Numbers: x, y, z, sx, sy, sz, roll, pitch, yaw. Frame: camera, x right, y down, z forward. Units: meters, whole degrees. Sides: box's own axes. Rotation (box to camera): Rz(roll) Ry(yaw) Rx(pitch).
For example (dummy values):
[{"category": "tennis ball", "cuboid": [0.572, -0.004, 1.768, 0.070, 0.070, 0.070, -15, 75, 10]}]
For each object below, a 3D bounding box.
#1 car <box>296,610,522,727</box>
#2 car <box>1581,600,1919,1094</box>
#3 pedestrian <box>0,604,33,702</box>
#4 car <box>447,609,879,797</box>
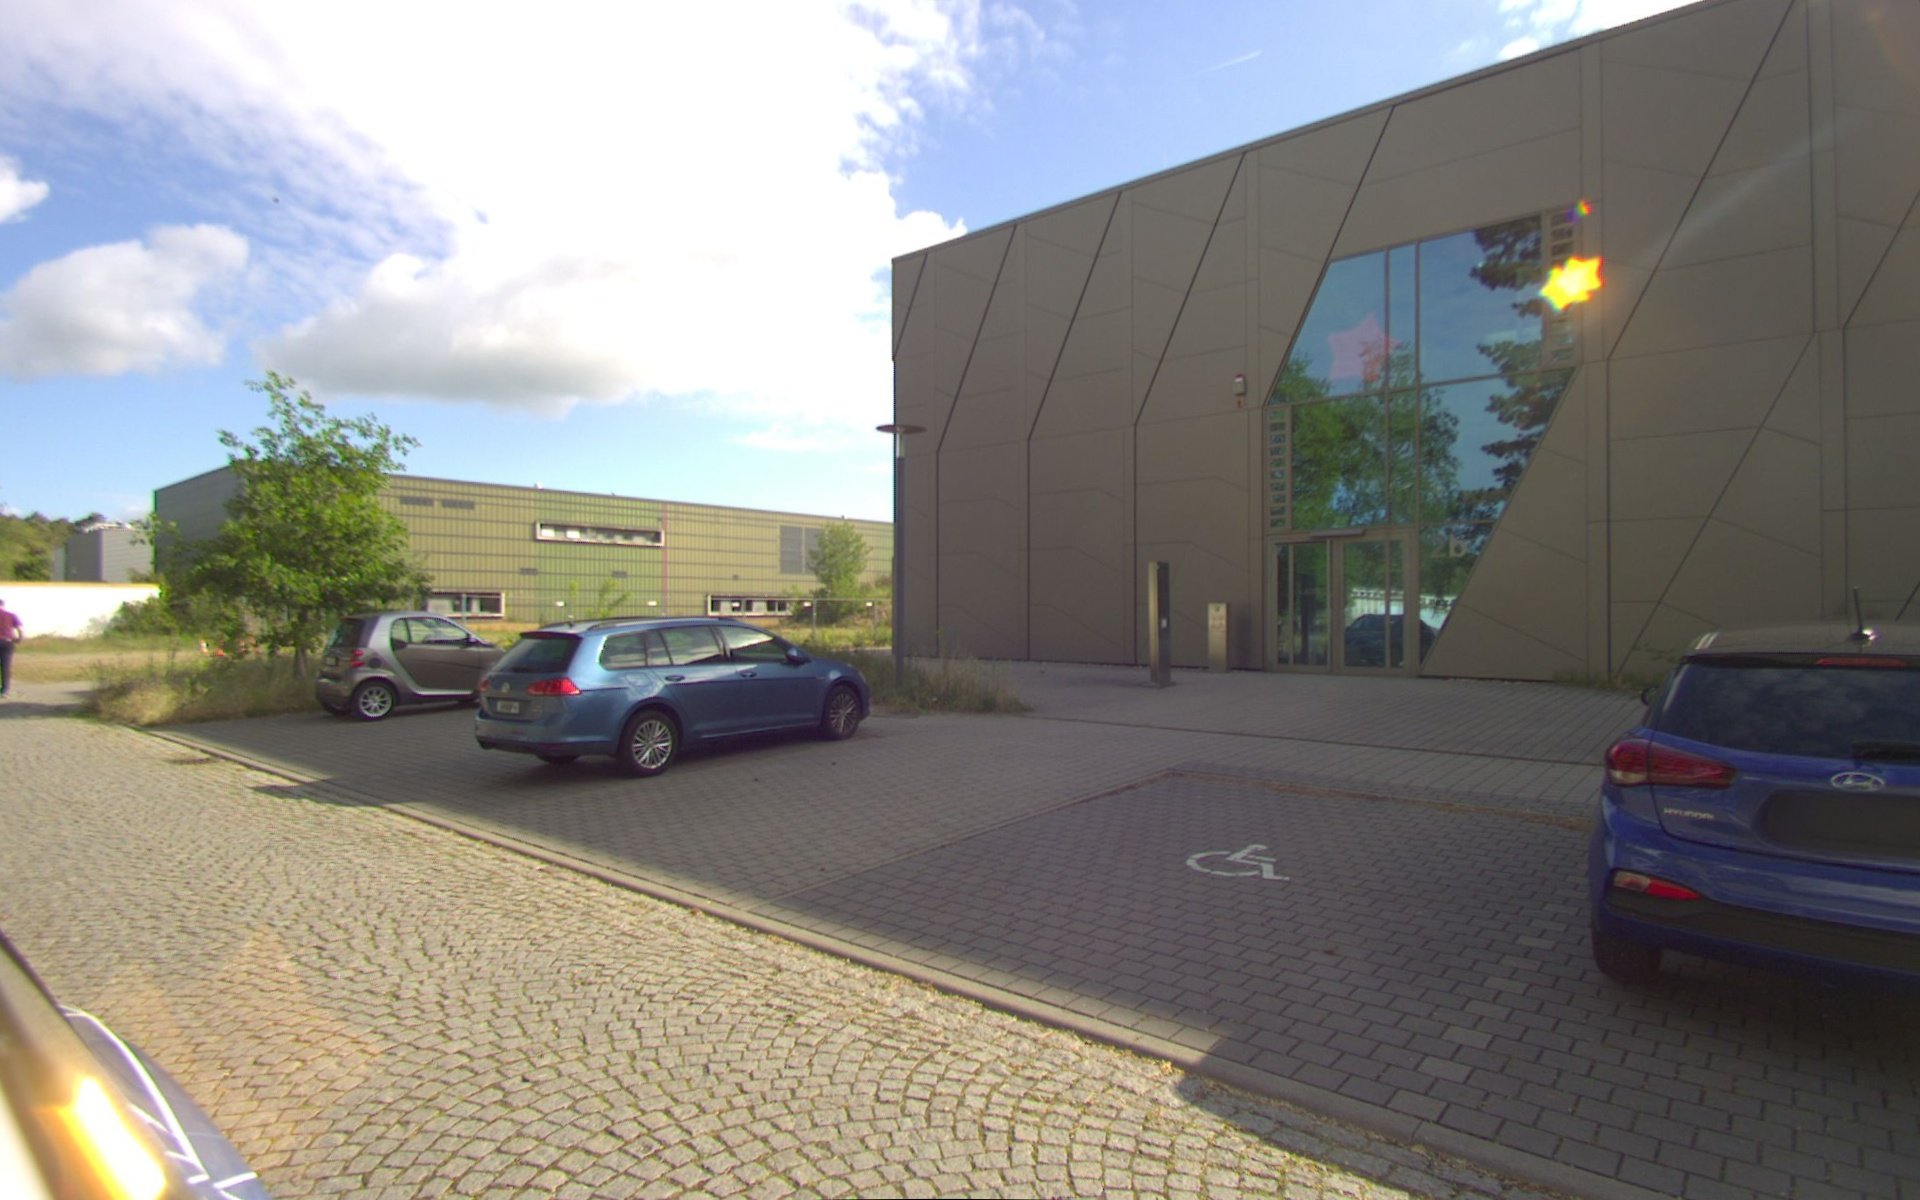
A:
[{"category": "car", "cuboid": [-8.411, 0.961, 15.560, 1.517, 1.554, 2.672, -1, 1, 39]}, {"category": "car", "cuboid": [4.249, 0.775, 4.597, 1.720, 1.475, 3.794, -1, 1, 43]}, {"category": "pedestrian", "cuboid": [-17.959, 0.979, 18.845, 1.151, 1.785, 0.797, -1, -1, 36]}, {"category": "car", "cuboid": [-2.905, 0.896, 10.744, 1.678, 1.475, 4.216, -1, 1, 38]}]
